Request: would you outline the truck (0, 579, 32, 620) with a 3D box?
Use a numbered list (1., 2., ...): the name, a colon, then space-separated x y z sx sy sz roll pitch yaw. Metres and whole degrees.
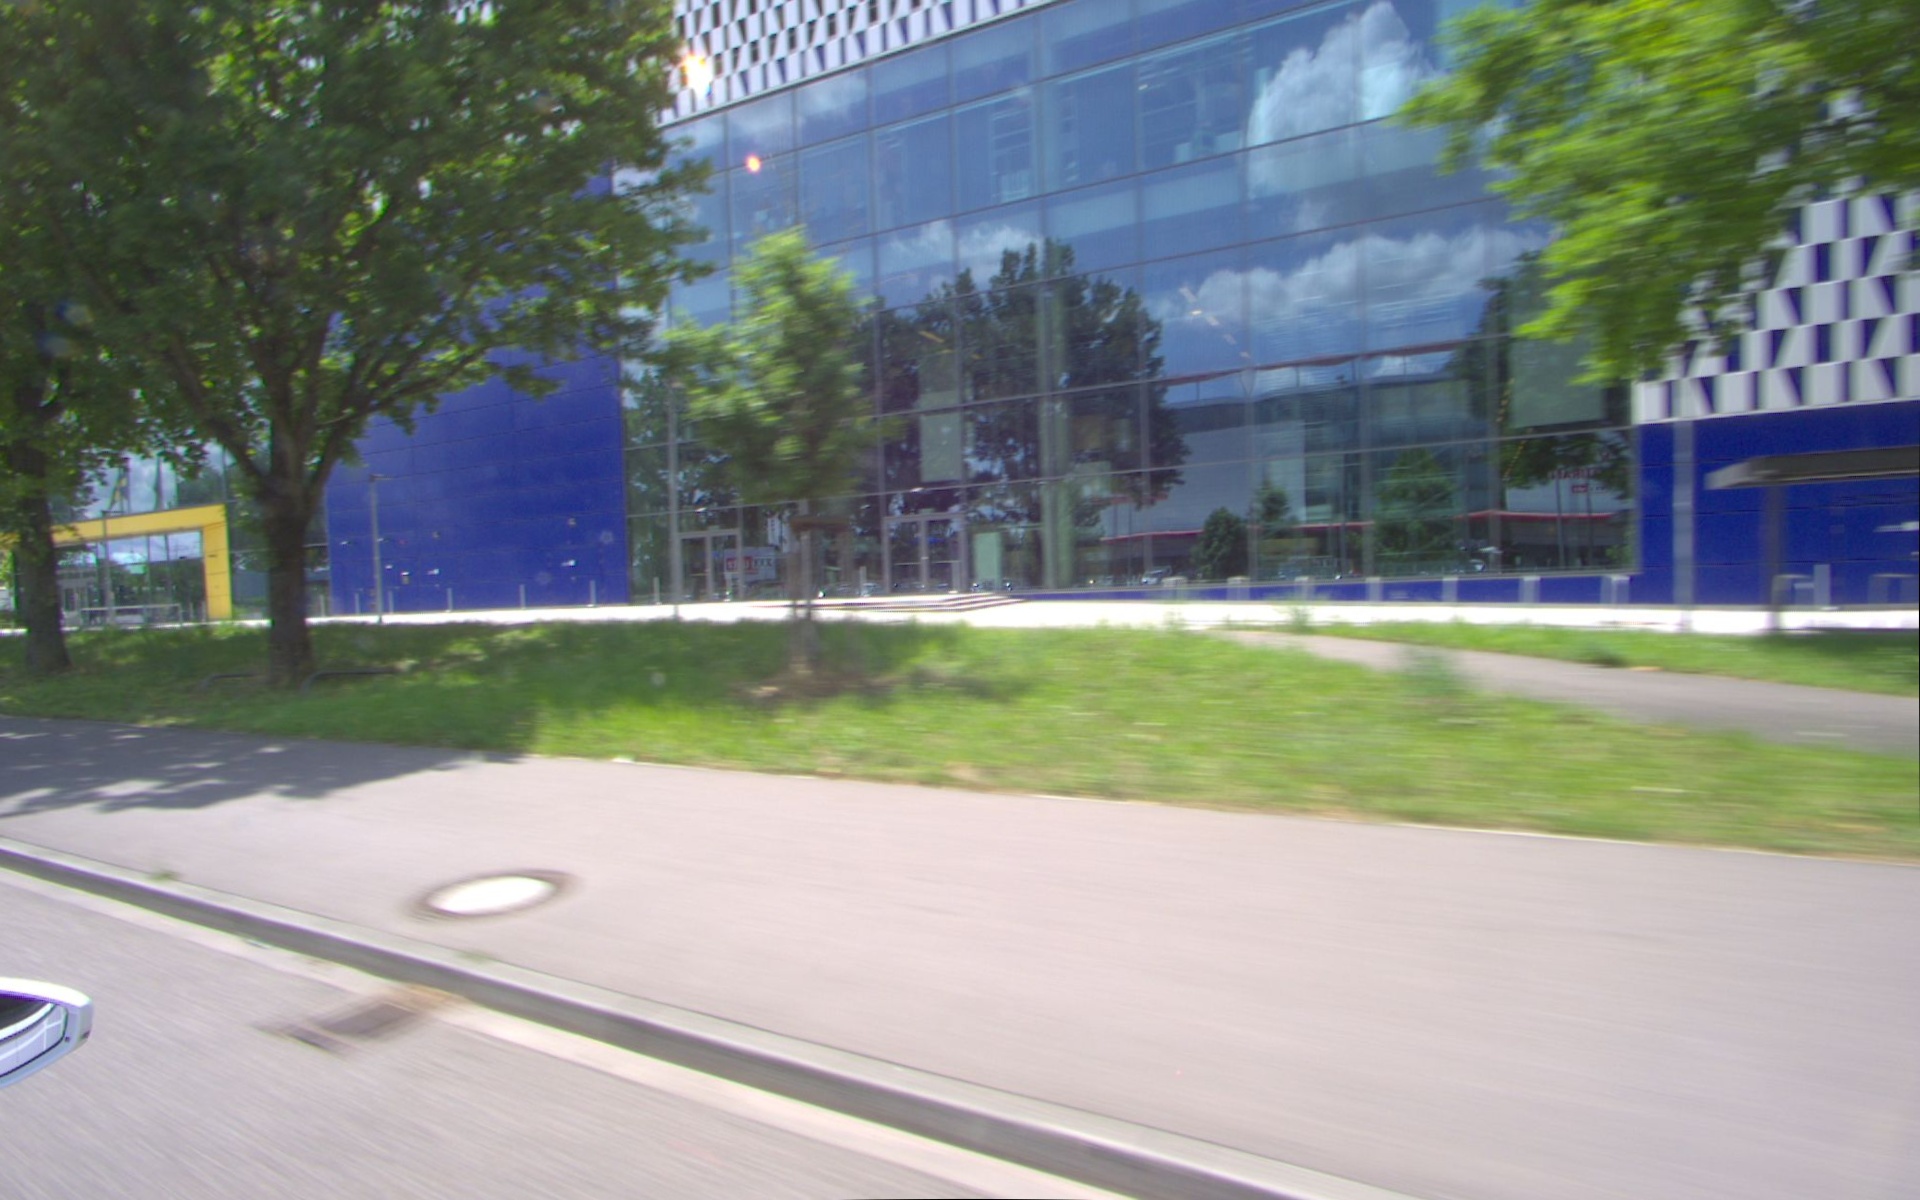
1. truck: -99.707 0.020 98.505 2.907 4.160 11.943 0 1 28
